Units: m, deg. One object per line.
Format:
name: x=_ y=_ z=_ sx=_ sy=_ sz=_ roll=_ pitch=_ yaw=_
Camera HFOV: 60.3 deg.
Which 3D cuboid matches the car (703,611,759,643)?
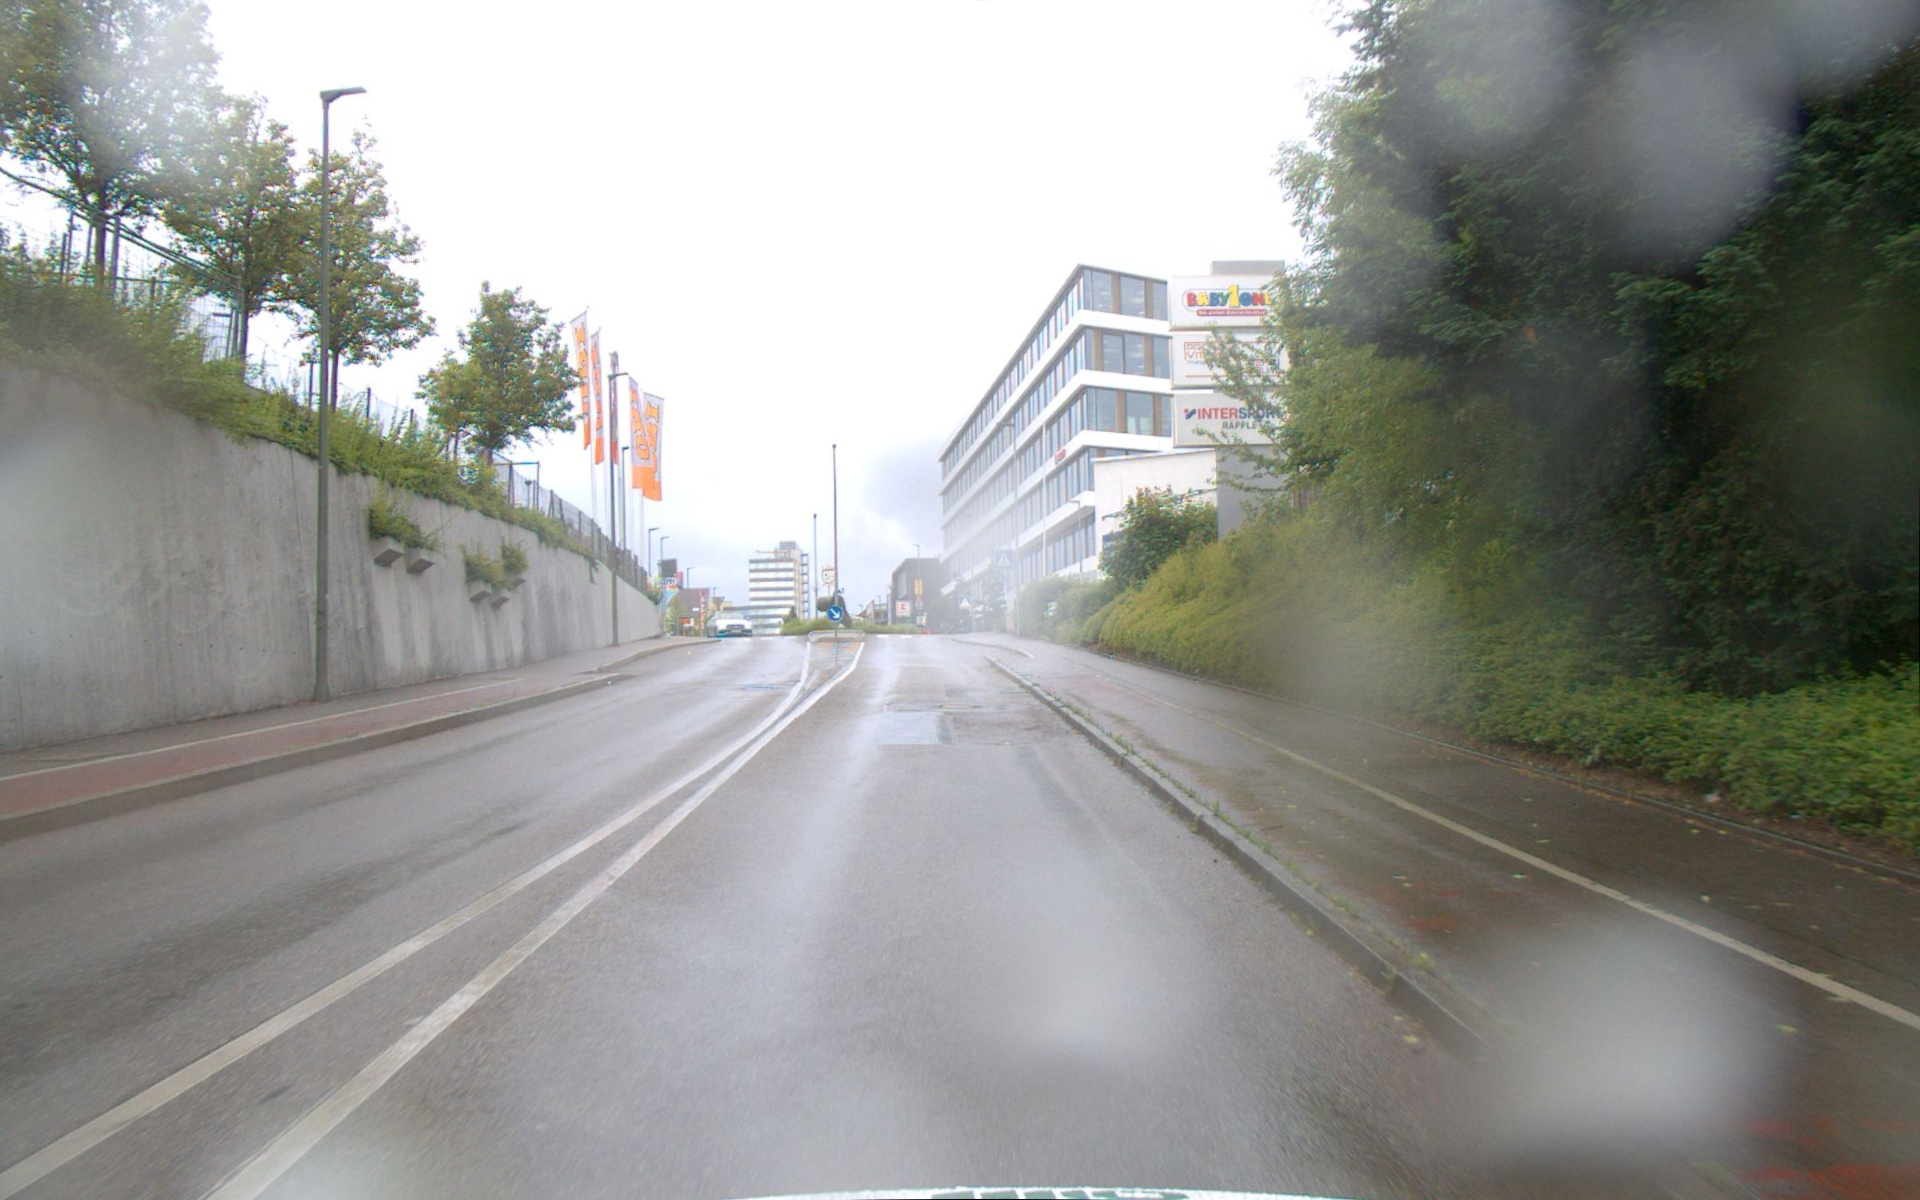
car: x=-11.575 y=1.328 z=83.396 sx=1.970 sy=1.451 sz=4.757 roll=-1 pitch=1 yaw=-18
